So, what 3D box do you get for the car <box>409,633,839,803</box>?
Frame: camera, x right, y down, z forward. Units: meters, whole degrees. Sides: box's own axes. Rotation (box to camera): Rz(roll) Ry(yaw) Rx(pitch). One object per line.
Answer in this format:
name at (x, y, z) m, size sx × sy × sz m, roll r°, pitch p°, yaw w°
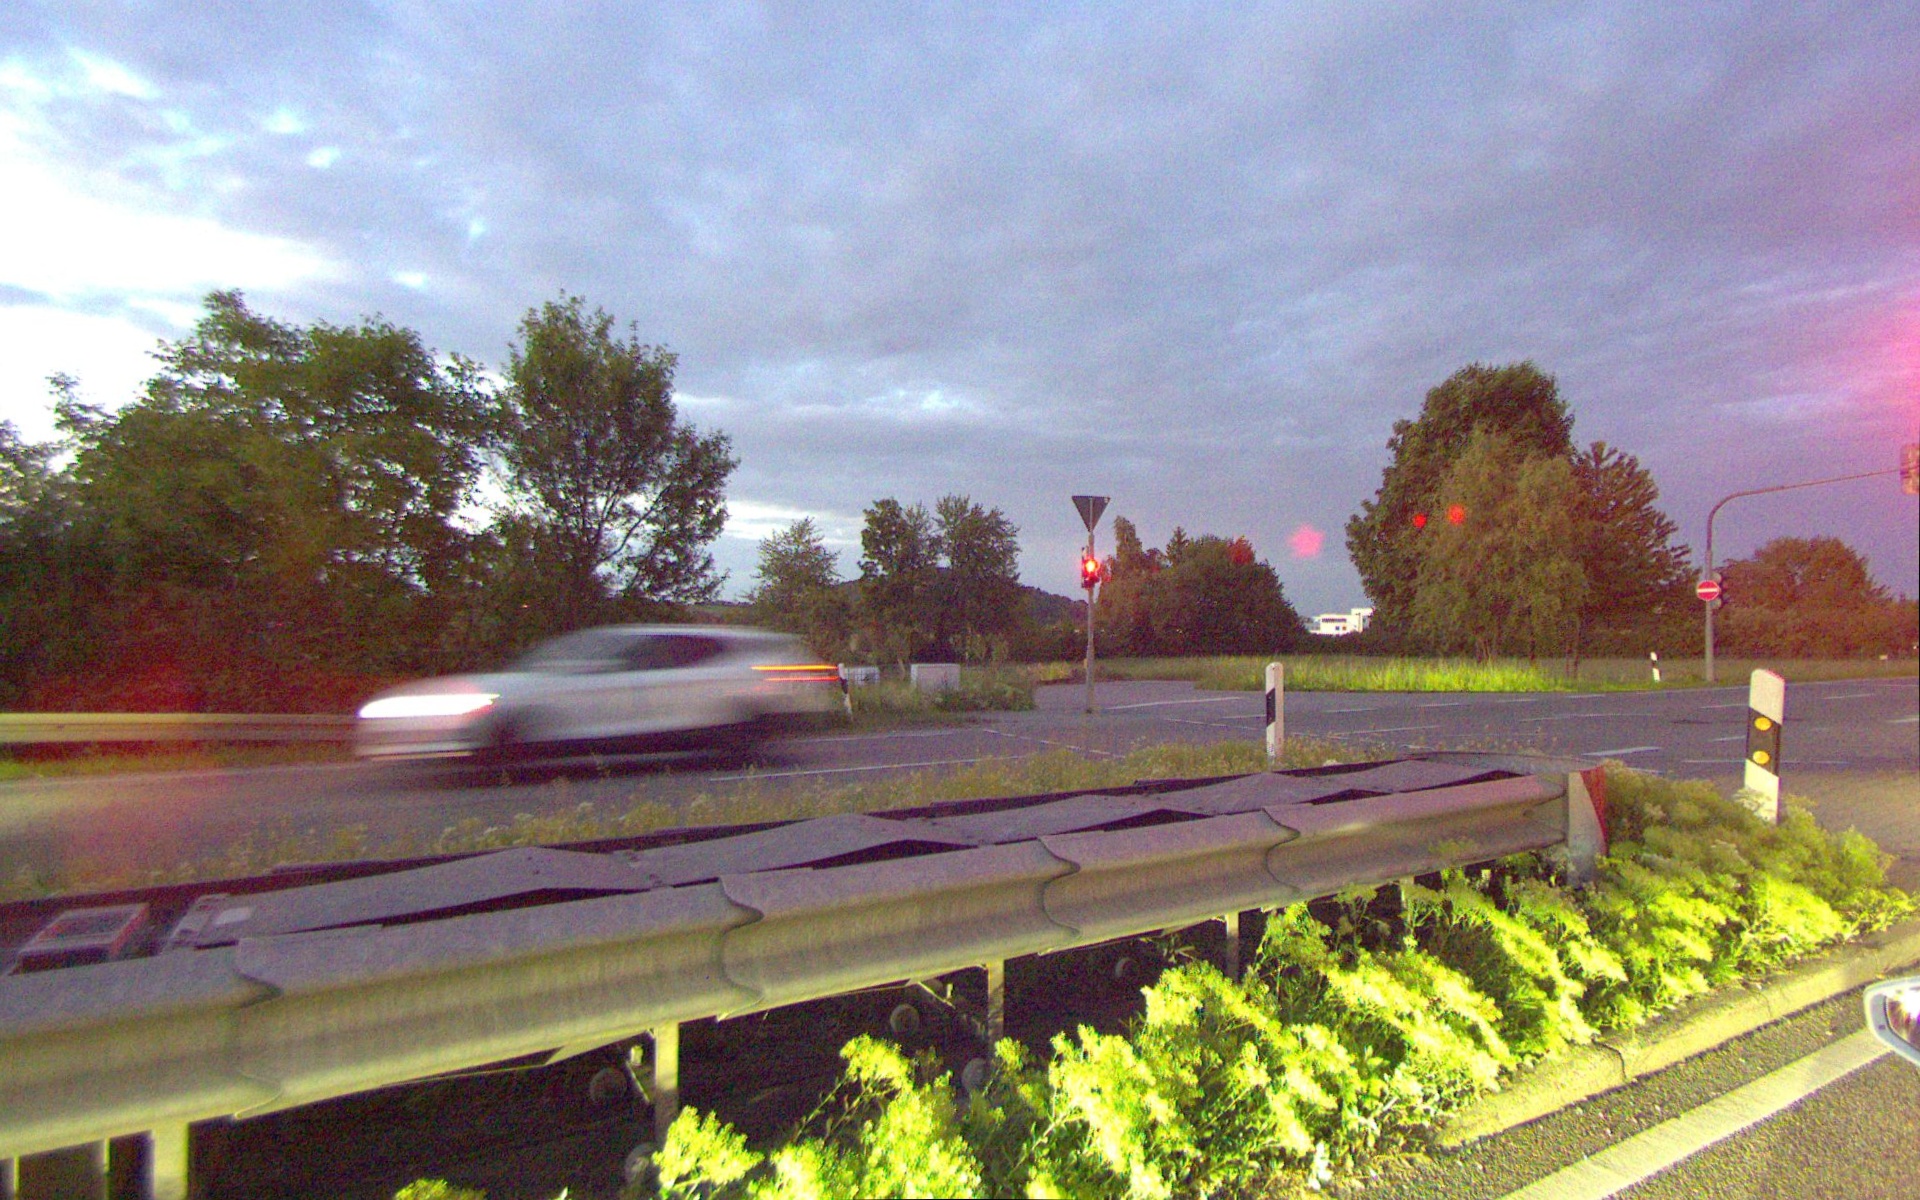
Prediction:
car at (-3.689, 1.150, 11.187) m, size 4.247 × 1.539 × 1.984 m, roll 1°, pitch -2°, yaw -30°
